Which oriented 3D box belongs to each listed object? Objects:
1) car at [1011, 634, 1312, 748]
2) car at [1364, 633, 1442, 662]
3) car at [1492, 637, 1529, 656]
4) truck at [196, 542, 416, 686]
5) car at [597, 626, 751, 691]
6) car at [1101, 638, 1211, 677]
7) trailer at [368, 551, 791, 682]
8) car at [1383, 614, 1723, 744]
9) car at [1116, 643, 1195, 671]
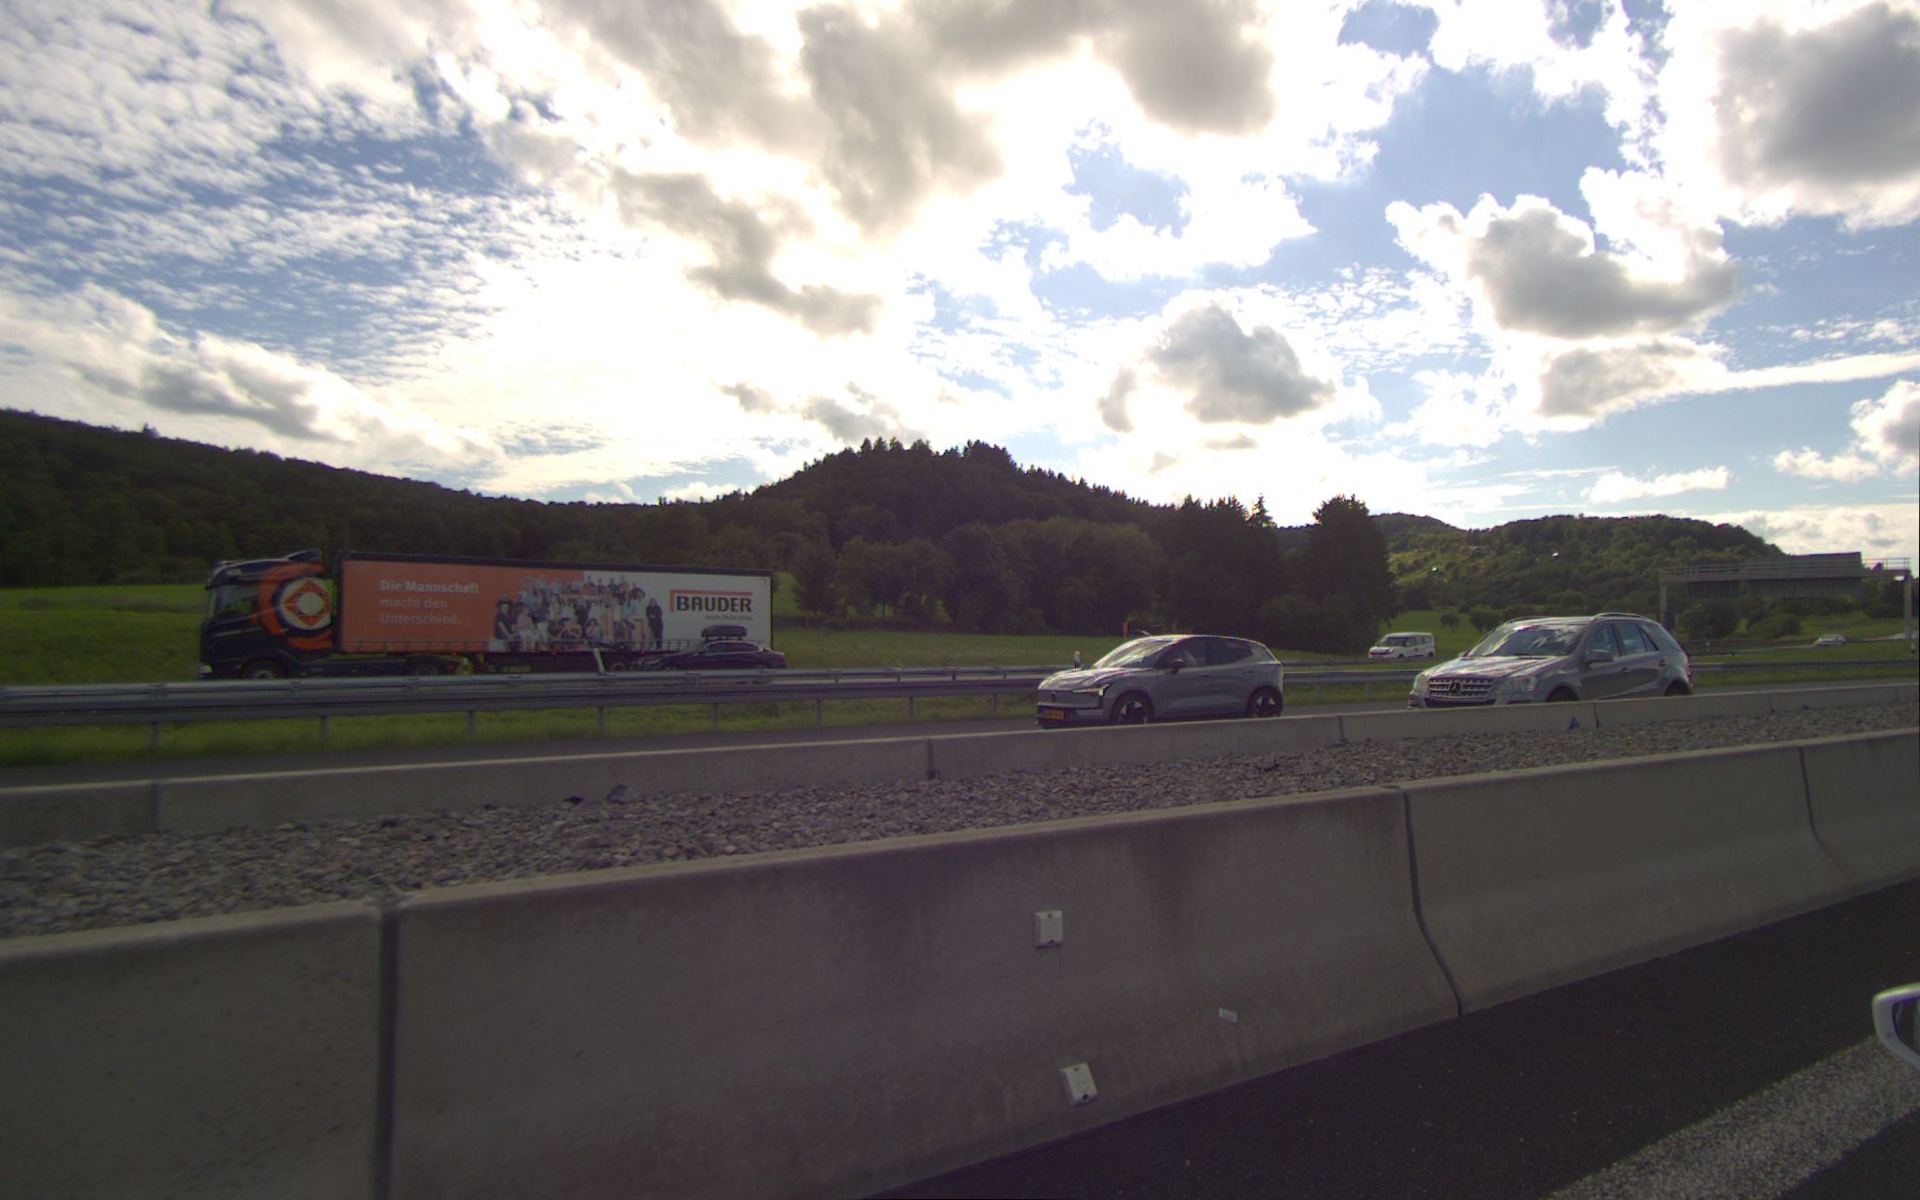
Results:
[{"bbox_3d":[3.194,1.336,15.720,4.454,1.552,1.984,2,-3,-30],"label":"car"},{"bbox_3d":[24.857,2.688,56.330,4.842,1.568,1.761,2,-3,-35],"label":"car"},{"bbox_3d":[61.091,5.127,111.461,3.958,2.040,1.982,2,-3,-34],"label":"car"},{"bbox_3d":[-18.717,0.480,28.981,5.098,3.810,1.981,2,-3,-35],"label":"truck"},{"bbox_3d":[-8.979,1.814,31.702,4.353,1.922,1.762,2,-3,-34],"label":"car"},{"bbox_3d":[7.537,2.192,38.451,4.359,1.418,1.759,2,-3,-38],"label":"car"},{"bbox_3d":[-12.084,0.695,33.547,13.109,3.785,1.981,2,-3,-34],"label":"trailer"},{"bbox_3d":[8.442,1.049,14.196,4.962,1.552,1.984,2,-3,-30],"label":"car"},{"bbox_3d":[11.539,3.348,59.111,4.842,1.568,1.761,2,-3,-35],"label":"car"}]
